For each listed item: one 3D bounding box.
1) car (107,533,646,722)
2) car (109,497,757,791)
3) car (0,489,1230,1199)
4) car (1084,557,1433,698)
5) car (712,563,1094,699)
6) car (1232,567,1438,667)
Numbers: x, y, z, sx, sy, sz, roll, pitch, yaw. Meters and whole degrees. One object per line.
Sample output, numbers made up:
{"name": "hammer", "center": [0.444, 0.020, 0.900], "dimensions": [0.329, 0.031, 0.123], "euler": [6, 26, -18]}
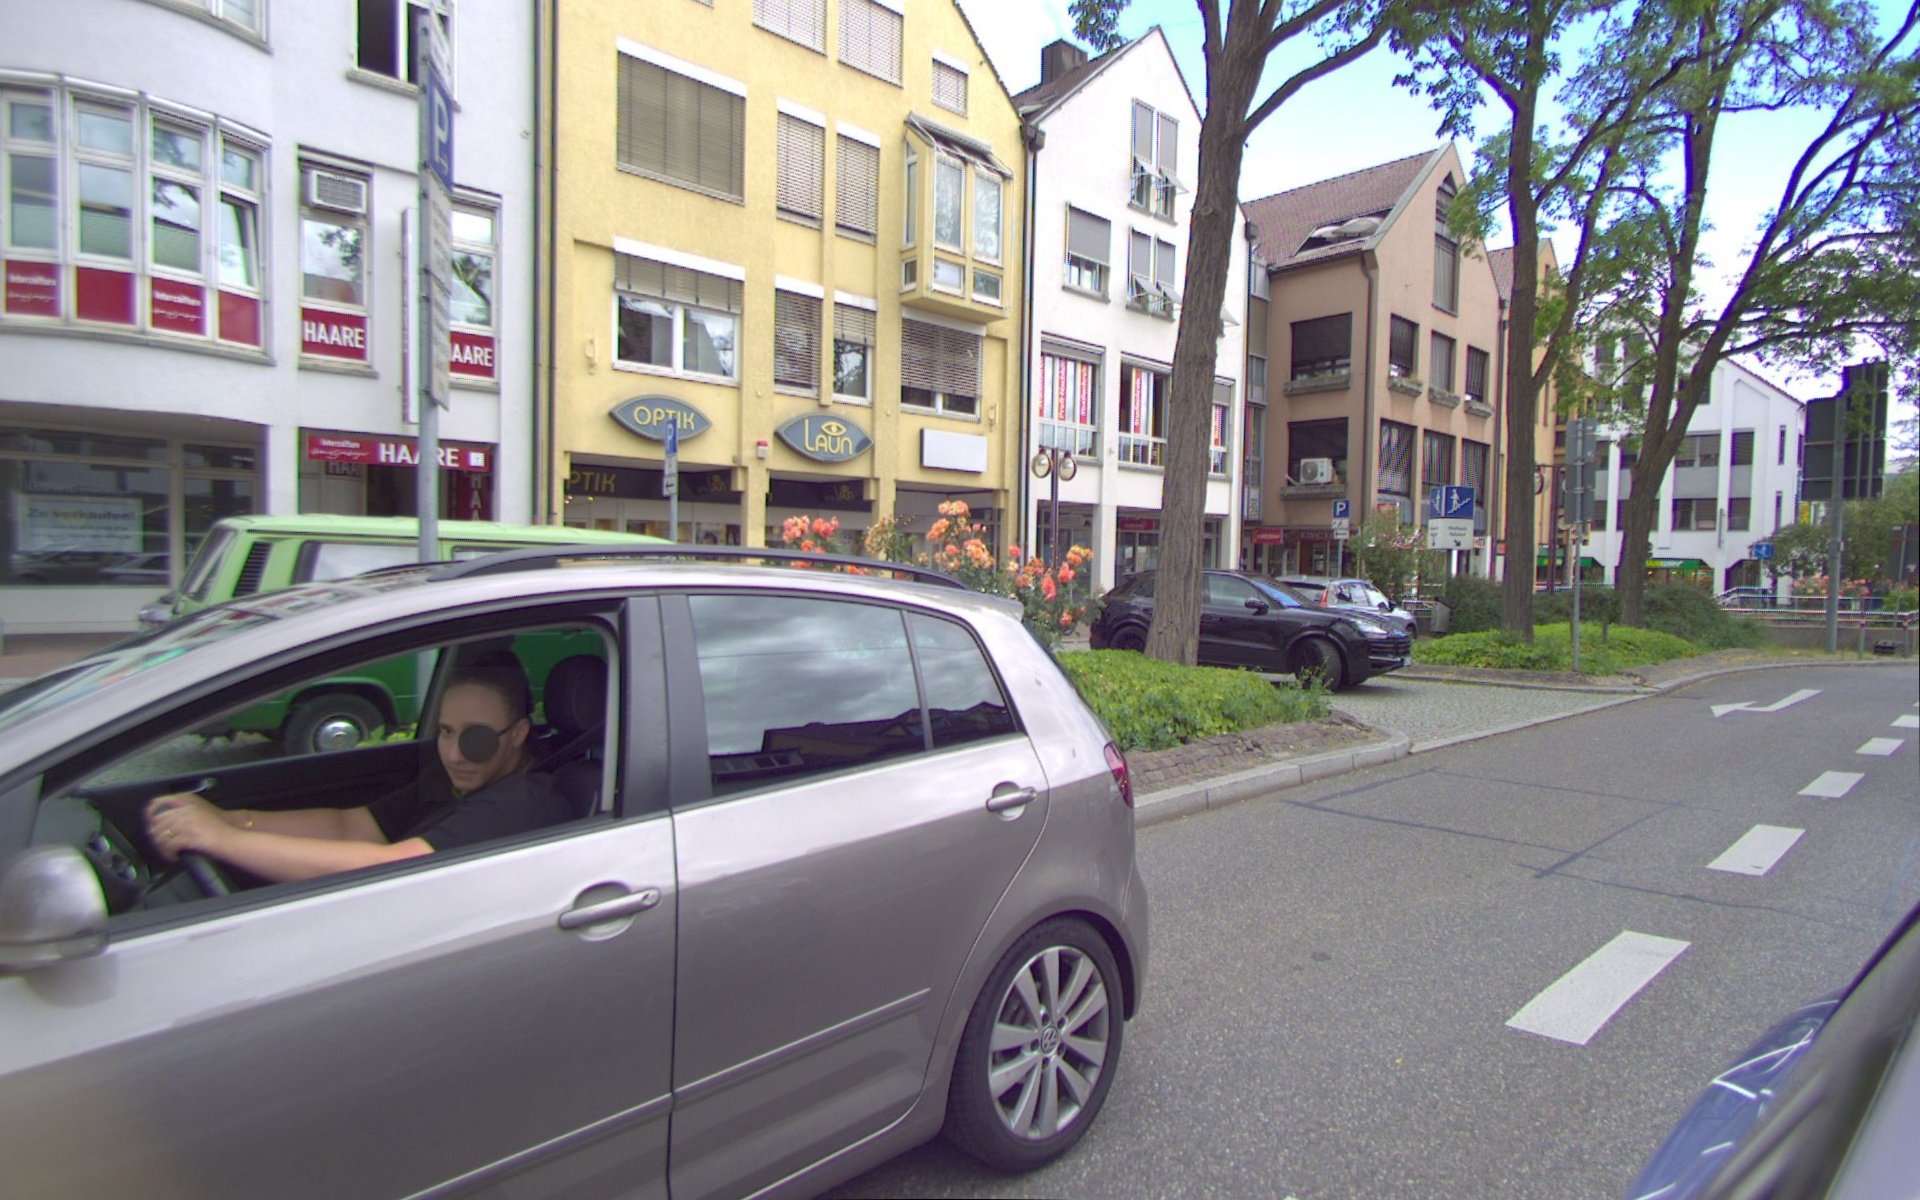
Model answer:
{"name": "car", "center": [-6.008, 0.144, 10.852], "dimensions": [1.995, 1.566, 4.677], "euler": [5, 4, 45]}
{"name": "car", "center": [-4.342, 0.185, 8.881], "dimensions": [4.676, 1.898, 1.996], "euler": [-1, 4, -44]}
{"name": "car", "center": [-1.212, 0.627, 2.433], "dimensions": [3.932, 1.549, 1.799], "euler": [0, 0, -43]}
{"name": "car", "center": [4.494, 0.295, 15.571], "dimensions": [4.724, 1.699, 1.975], "euler": [4, 3, 35]}
{"name": "car", "center": [-0.536, 0.251, 12.616], "dimensions": [4.675, 1.325, 1.840], "euler": [-1, 4, -44]}
{"name": "car", "center": [7.483, 0.226, 19.940], "dimensions": [1.995, 1.674, 4.677], "euler": [4, 4, 45]}
